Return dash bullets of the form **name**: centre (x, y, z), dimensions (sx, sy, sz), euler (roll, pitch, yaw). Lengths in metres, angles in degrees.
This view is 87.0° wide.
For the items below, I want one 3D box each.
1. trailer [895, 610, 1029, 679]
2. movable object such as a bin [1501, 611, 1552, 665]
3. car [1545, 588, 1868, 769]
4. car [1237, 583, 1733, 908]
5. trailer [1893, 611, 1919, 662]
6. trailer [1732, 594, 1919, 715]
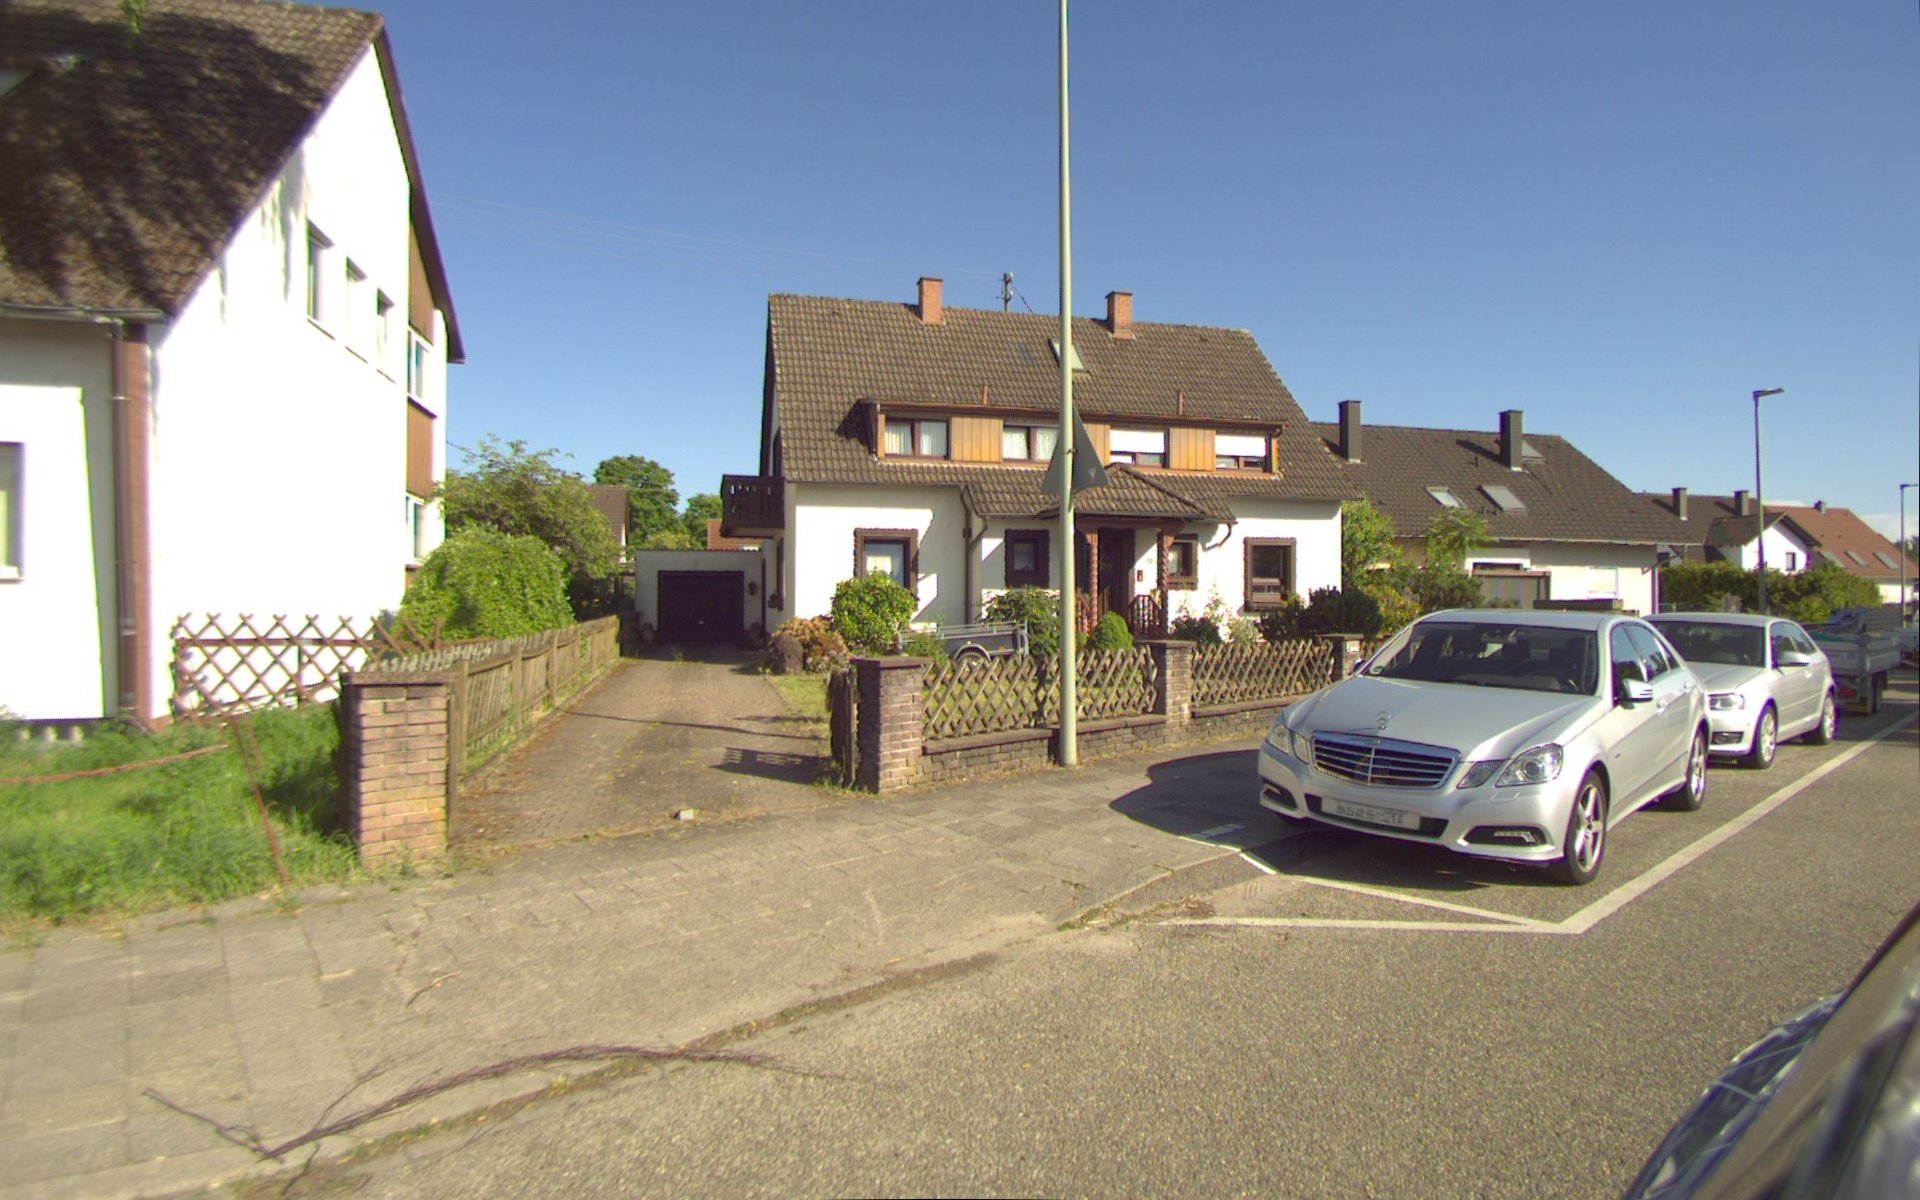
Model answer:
- **trailer**: centre (-0.019, 0.718, 16.970), dimensions (2.142, 1.085, 1.656), euler (0, 0, -3)
- **movable object such as a bin**: centre (11.597, 0.765, 20.725), dimensions (0.737, 1.067, 0.526), euler (0, 0, -16)
- **car**: centre (7.946, 0.693, 10.663), dimensions (3.968, 1.562, 1.678), euler (0, -1, -37)
- **car**: centre (3.899, 0.705, 7.086), dimensions (4.462, 1.562, 1.785), euler (0, -1, -44)
- **trailer**: centre (24.926, 0.907, 25.694), dimensions (3.092, 1.233, 1.628), euler (0, -1, -44)
- **trailer**: centre (12.669, 0.708, 14.729), dimensions (3.141, 1.558, 1.630), euler (0, -1, -40)
